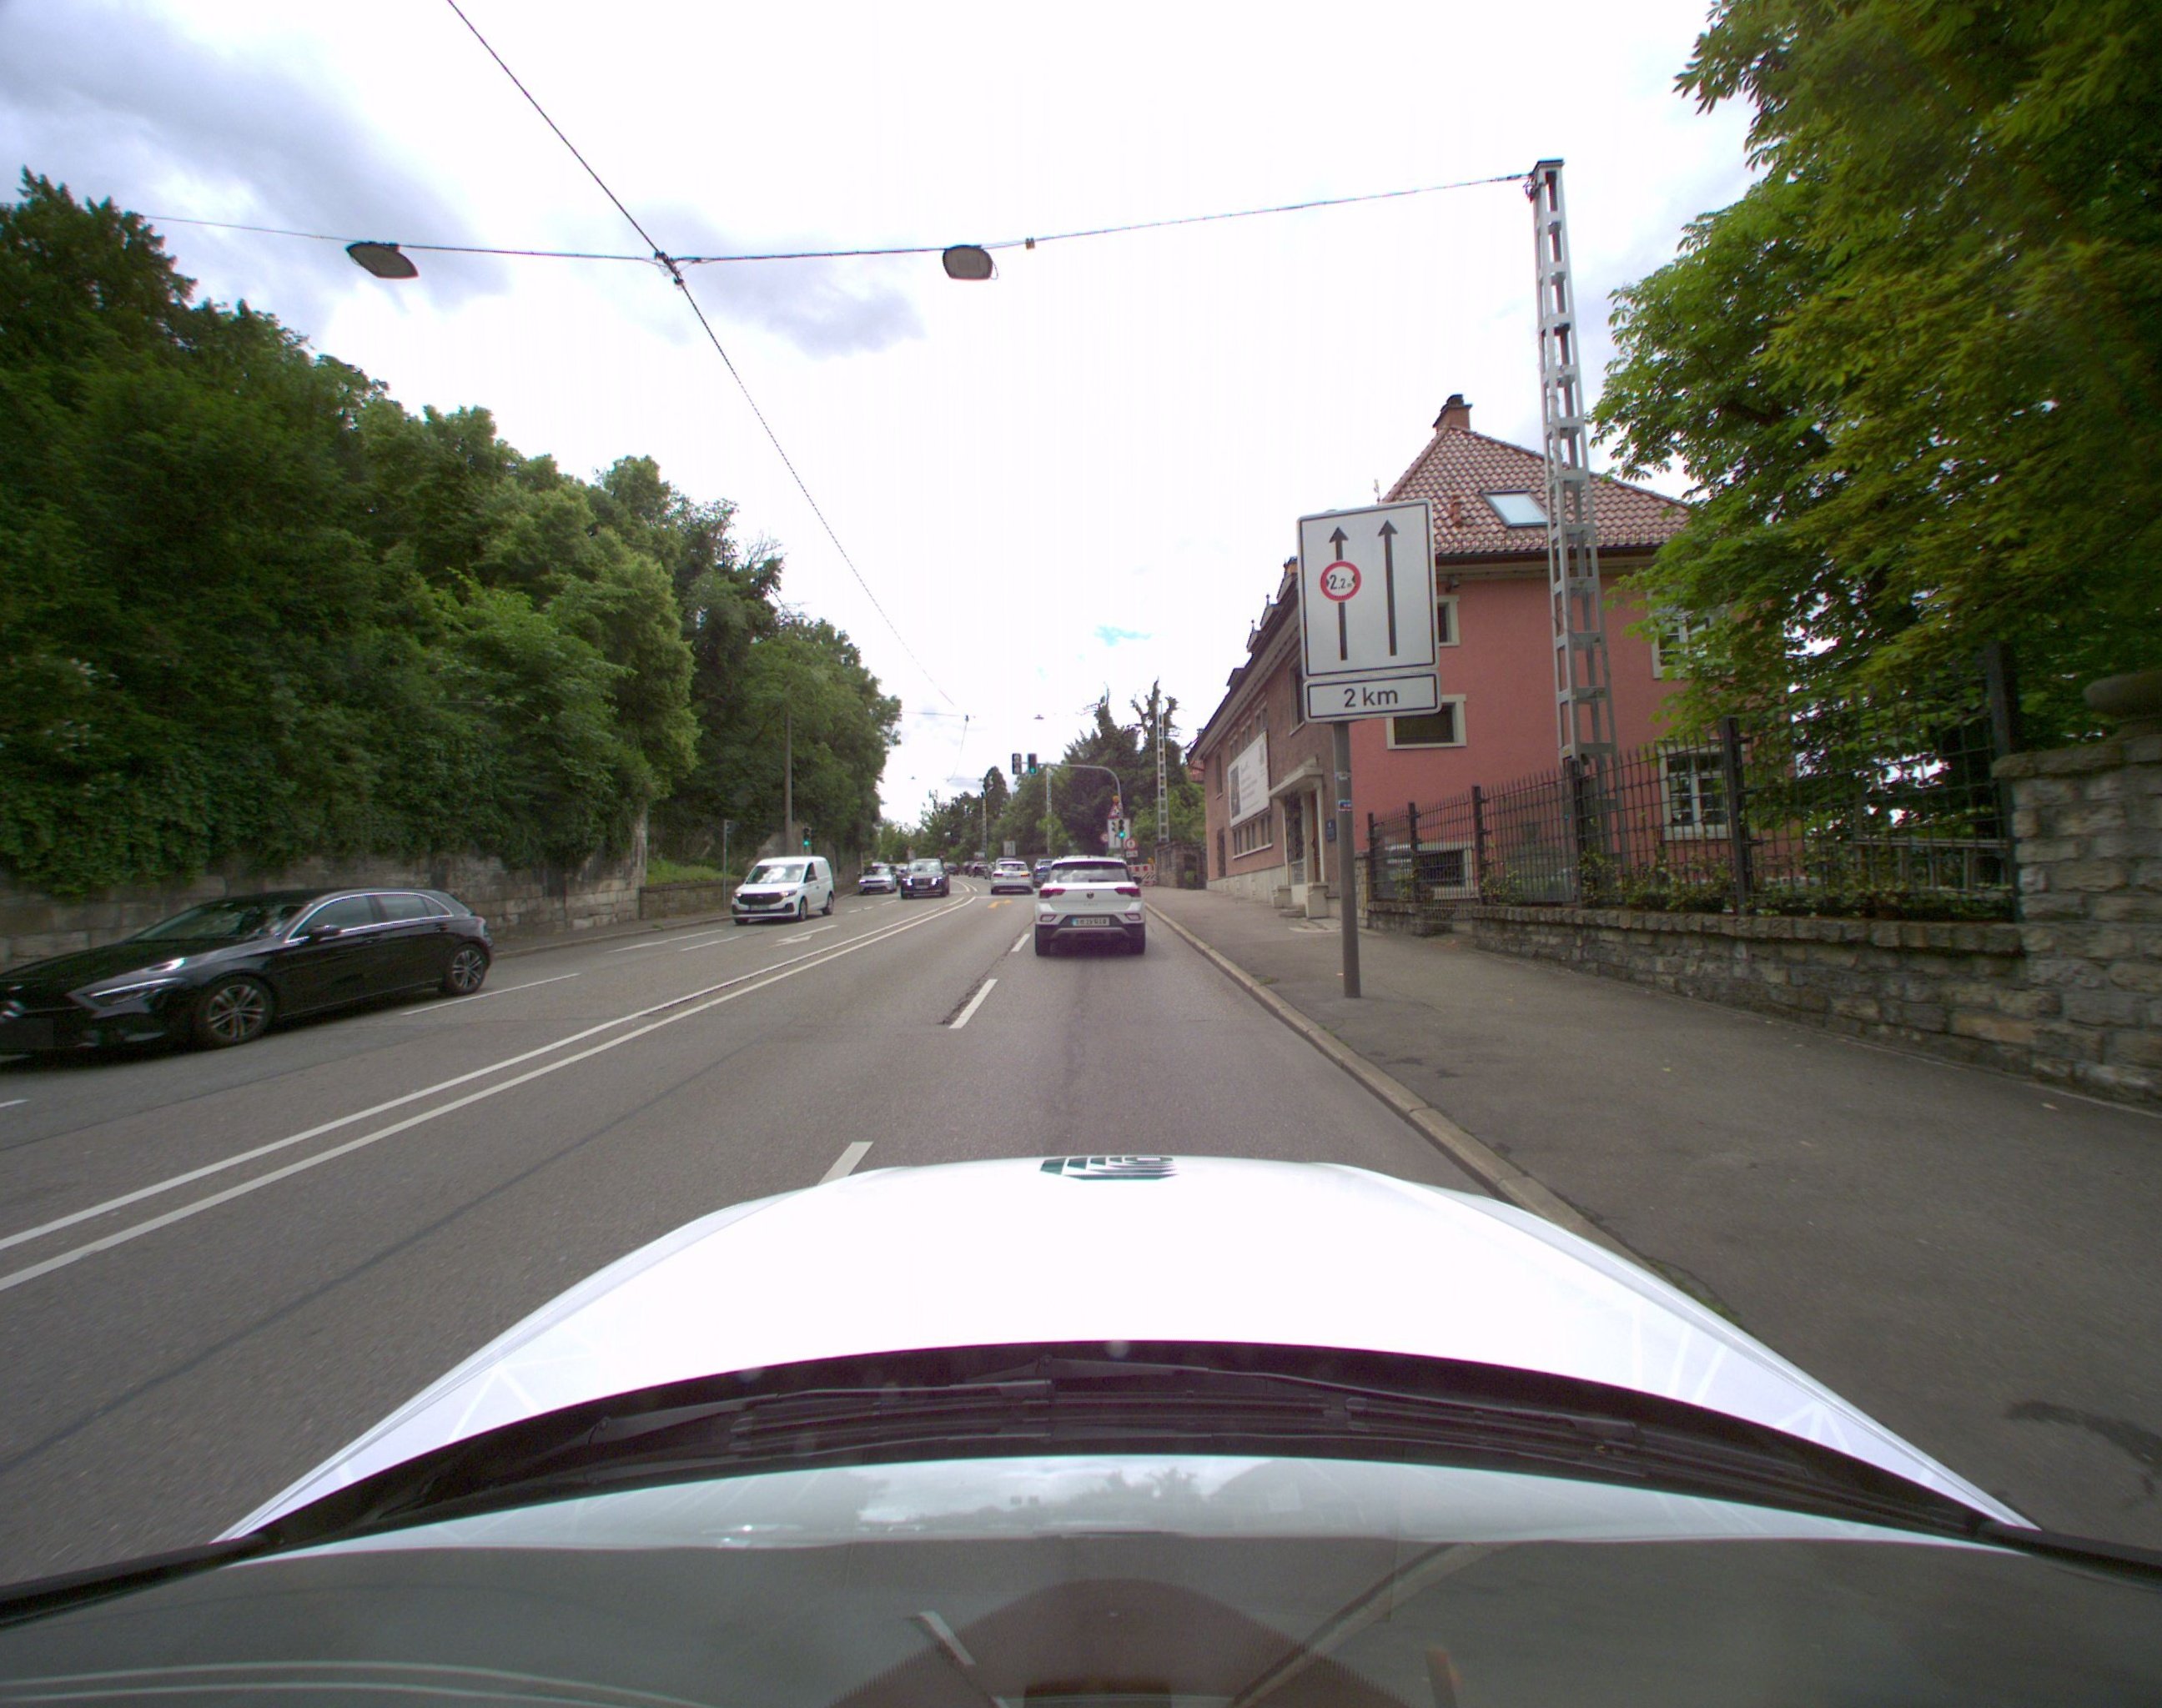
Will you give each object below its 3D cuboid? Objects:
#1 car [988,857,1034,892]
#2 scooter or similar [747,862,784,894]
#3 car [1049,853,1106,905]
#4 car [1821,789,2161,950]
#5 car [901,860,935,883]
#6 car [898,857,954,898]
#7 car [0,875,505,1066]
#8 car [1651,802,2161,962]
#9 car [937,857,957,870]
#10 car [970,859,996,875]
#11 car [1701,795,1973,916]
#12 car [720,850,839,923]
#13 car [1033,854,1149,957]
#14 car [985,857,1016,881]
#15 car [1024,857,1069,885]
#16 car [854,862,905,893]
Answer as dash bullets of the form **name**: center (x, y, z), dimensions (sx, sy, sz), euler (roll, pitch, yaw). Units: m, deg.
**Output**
- **car**: center (-3.209, 0.900, 36.790), dimensions (1.758, 1.471, 3.782), euler (0, -1, -10)
- **scooter or similar**: center (-13.610, 1.025, 35.176), dimensions (0.429, 1.238, 1.358), euler (3, -5, 34)
- **car**: center (-0.137, 0.795, 27.115), dimensions (1.753, 1.609, 3.793), euler (0, -1, -1)
- **car**: center (11.203, 0.110, 9.305), dimensions (1.985, 1.507, 4.003), euler (-1, 0, 3)
- **car**: center (-11.447, 1.204, 57.470), dimensions (1.679, 1.418, 4.423), euler (-3, 0, -3)
- **car**: center (-6.737, 0.964, 35.786), dimensions (1.845, 1.632, 4.355), euler (-1, 0, -4)
- **car**: center (-8.483, 1.006, 8.671), dimensions (1.557, 1.402, 4.254), euler (-3, 0, 1)
- **car**: center (8.964, 0.244, 9.476), dimensions (1.985, 1.422, 4.003), euler (-1, 0, 3)
- **car**: center (-14.758, 1.040, 89.559), dimensions (1.784, 1.454, 3.979), euler (0, -1, -15)
- **car**: center (-9.447, 1.250, 78.363), dimensions (1.996, 1.450, 4.132), euler (-1, -1, -13)
- **car**: center (11.696, 0.070, 12.889), dimensions (1.430, 1.683, 3.146), euler (0, -2, 2)
- **car**: center (-8.448, 0.869, 23.267), dimensions (1.888, 1.848, 4.392), euler (1, -1, -2)
- **car**: center (0.072, 0.813, 14.235), dimensions (1.754, 1.556, 3.791), euler (0, -1, -3)
- **car**: center (-5.375, 0.954, 54.194), dimensions (1.991, 1.556, 4.142), euler (0, 0, -6)
- **car**: center (-1.950, 0.951, 45.197), dimensions (1.993, 1.414, 4.137), euler (-2, -1, -9)
- **car**: center (-10.548, 1.199, 42.833), dimensions (1.711, 1.403, 4.020), euler (-2, 0, -2)
